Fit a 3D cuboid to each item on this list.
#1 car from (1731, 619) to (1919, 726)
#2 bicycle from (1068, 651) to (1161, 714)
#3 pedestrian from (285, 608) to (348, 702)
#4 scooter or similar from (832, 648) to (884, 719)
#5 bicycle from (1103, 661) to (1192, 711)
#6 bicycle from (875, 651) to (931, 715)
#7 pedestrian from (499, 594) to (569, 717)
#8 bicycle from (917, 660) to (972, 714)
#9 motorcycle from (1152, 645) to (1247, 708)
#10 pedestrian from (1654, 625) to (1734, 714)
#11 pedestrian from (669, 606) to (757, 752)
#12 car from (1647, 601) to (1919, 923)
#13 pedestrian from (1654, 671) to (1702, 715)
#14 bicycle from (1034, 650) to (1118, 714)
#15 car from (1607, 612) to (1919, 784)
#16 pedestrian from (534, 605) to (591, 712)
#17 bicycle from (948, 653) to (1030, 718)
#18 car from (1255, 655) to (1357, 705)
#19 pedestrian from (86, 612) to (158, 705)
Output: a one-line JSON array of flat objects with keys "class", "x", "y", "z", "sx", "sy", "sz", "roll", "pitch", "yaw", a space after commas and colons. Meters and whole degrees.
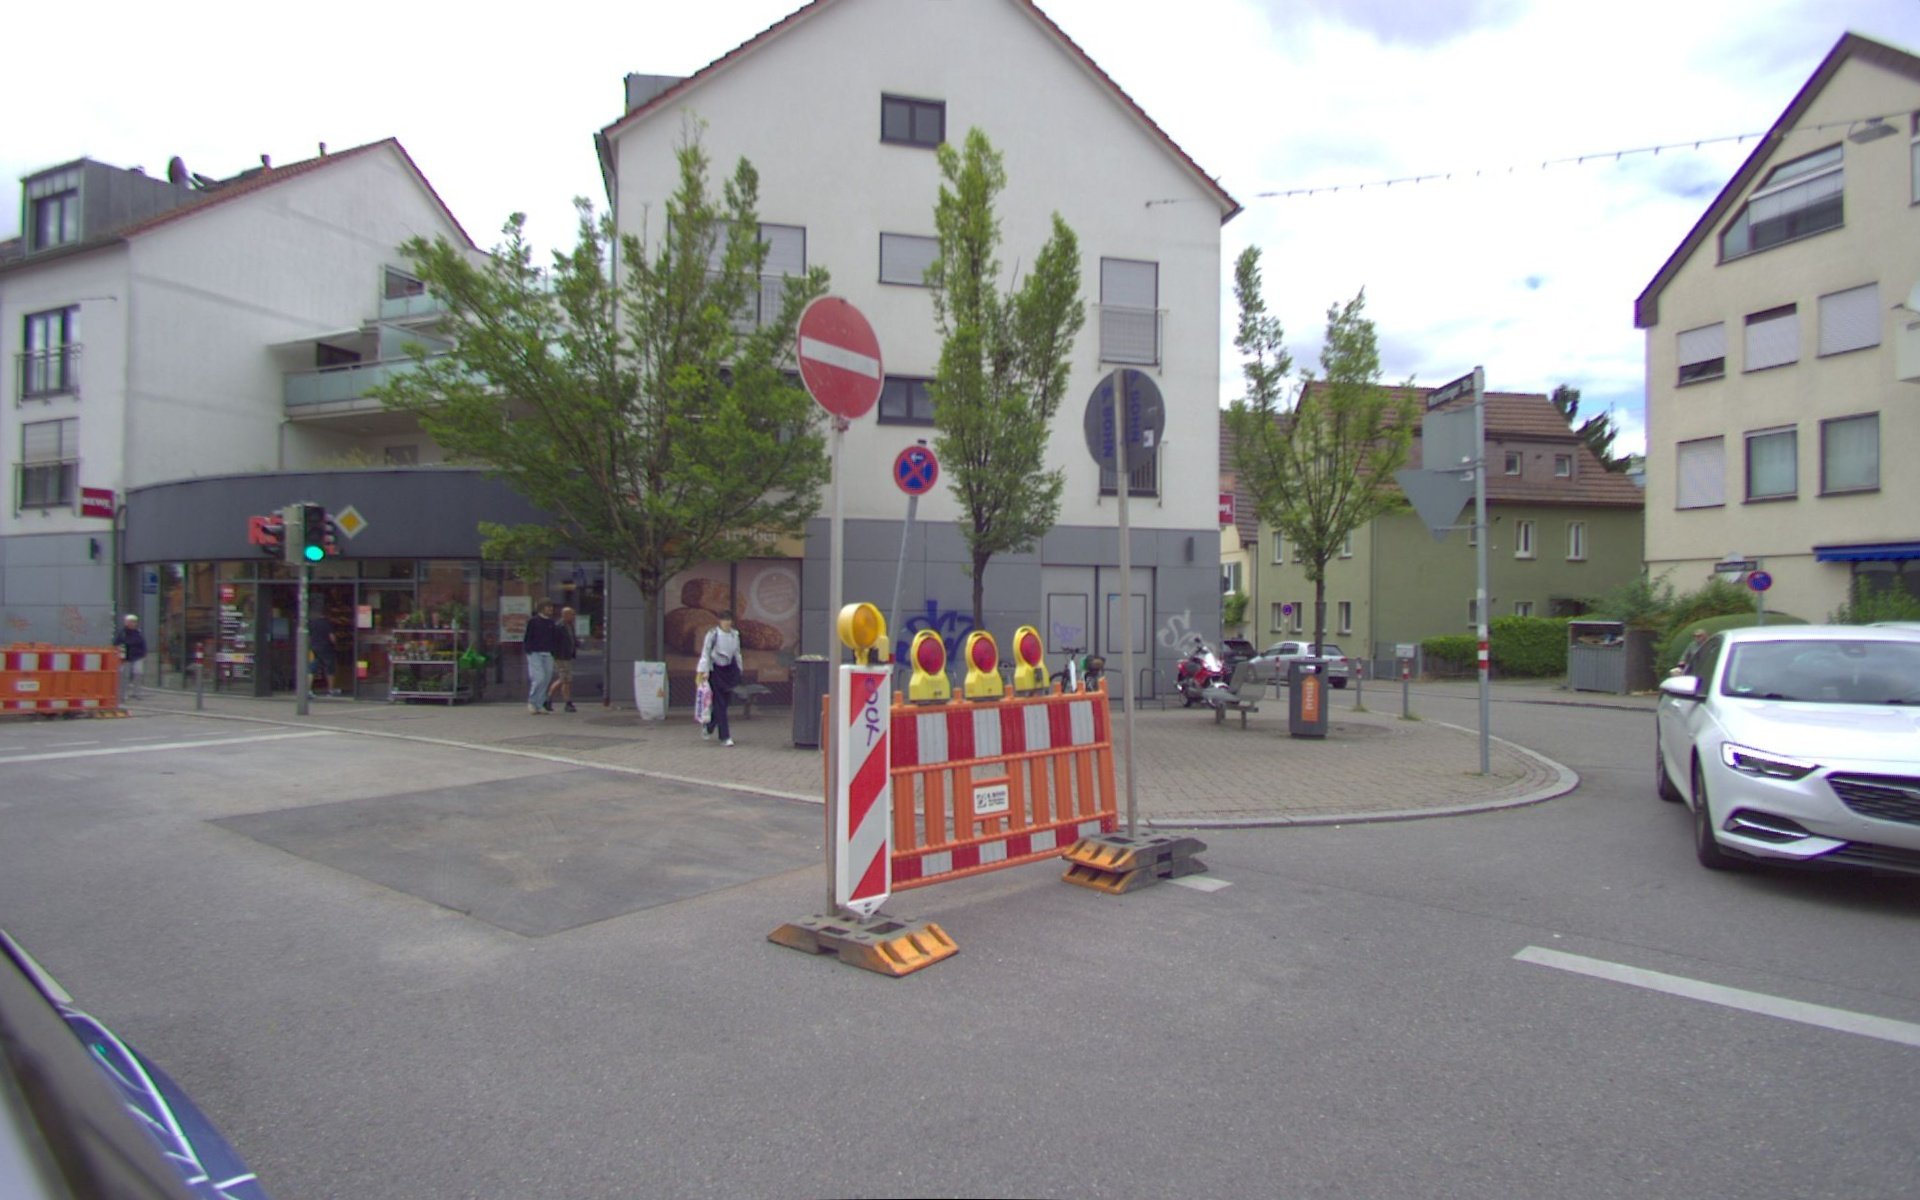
[{"class": "car", "x": 15.415, "y": 1.146, "z": 16.368, "sx": 1.968, "sy": 1.652, "sz": 4.335, "roll": 2, "pitch": -2, "yaw": -39}, {"class": "bicycle", "x": 2.804, "y": 1.500, "z": 18.581, "sx": 0.681, "sy": 1.069, "sz": 2.133, "roll": 0, "pitch": -4, "yaw": -21}, {"class": "pedestrian", "x": -13.011, "y": 1.097, "z": 20.479, "sx": 0.779, "sy": 1.858, "sz": 0.753, "roll": -1, "pitch": -1, "yaw": 6}, {"class": "scooter or similar", "x": -1.772, "y": 1.407, "z": 17.432, "sx": 0.587, "sy": 1.132, "sz": 1.537, "roll": 0, "pitch": -2, "yaw": -17}, {"class": "bicycle", "x": 3.482, "y": 1.593, "z": 18.976, "sx": 0.618, "sy": 0.873, "sz": 2.081, "roll": 0, "pitch": -4, "yaw": -21}, {"class": "bicycle", "x": -1.011, "y": 1.444, "z": 17.558, "sx": 0.522, "sy": 1.054, "sz": 1.750, "roll": 1, "pitch": -6, "yaw": -18}, {"class": "pedestrian", "x": -6.895, "y": 0.889, "z": 16.430, "sx": 0.774, "sy": 1.940, "sz": 0.816, "roll": -1, "pitch": -1, "yaw": 4}, {"class": "bicycle", "x": -0.285, "y": 1.547, "z": 17.751, "sx": 0.487, "sy": 0.890, "sz": 1.634, "roll": 1, "pitch": -7, "yaw": -18}, {"class": "motorcycle", "x": 4.538, "y": 1.433, "z": 19.340, "sx": 0.789, "sy": 1.113, "sz": 1.961, "roll": 1, "pitch": -2, "yaw": -21}, {"class": "pedestrian", "x": 14.259, "y": 1.335, "z": 19.677, "sx": 0.940, "sy": 1.682, "sz": 0.771, "roll": 0, "pitch": -2, "yaw": -4}, {"class": "pedestrian", "x": -2.869, "y": 0.889, "z": 11.744, "sx": 0.672, "sy": 1.604, "sz": 0.881, "roll": 1, "pitch": -2, "yaw": -39}, {"class": "car", "x": 6.016, "y": 0.763, "z": 6.651, "sx": 2.242, "sy": 1.488, "sz": 4.865, "roll": -1, "pitch": -1, "yaw": 32}, {"class": "pedestrian", "x": 13.802, "y": 1.774, "z": 19.462, "sx": 0.446, "sy": 0.805, "sz": 0.576, "roll": 1, "pitch": -2, "yaw": -17}, {"class": "bicycle", "x": 2.037, "y": 1.434, "z": 18.147, "sx": 0.798, "sy": 1.082, "sz": 1.966, "roll": 1, "pitch": -3, "yaw": -16}, {"class": "car", "x": 9.963, "y": 0.936, "z": 10.873, "sx": 4.841, "sy": 1.569, "sz": 2.025, "roll": -1, "pitch": -1, "yaw": -7}, {"class": "pedestrian", "x": -6.839, "y": 0.992, "z": 17.442, "sx": 0.708, "sy": 1.804, "sz": 0.693, "roll": -1, "pitch": -1, "yaw": 0}, {"class": "bicycle", "x": 0.474, "y": 1.467, "z": 17.711, "sx": 0.738, "sy": 1.054, "sz": 2.158, "roll": 1, "pitch": -4, "yaw": -18}, {"class": "car", "x": 7.228, "y": 1.660, "z": 21.245, "sx": 0.964, "sy": 0.948, "sz": 1.934, "roll": 1, "pitch": -2, "yaw": -23}, {"class": "pedestrian", "x": -16.064, "y": 1.109, "z": 19.409, "sx": 0.813, "sy": 1.726, "sz": 0.826, "roll": -1, "pitch": -2, "yaw": 31}]
